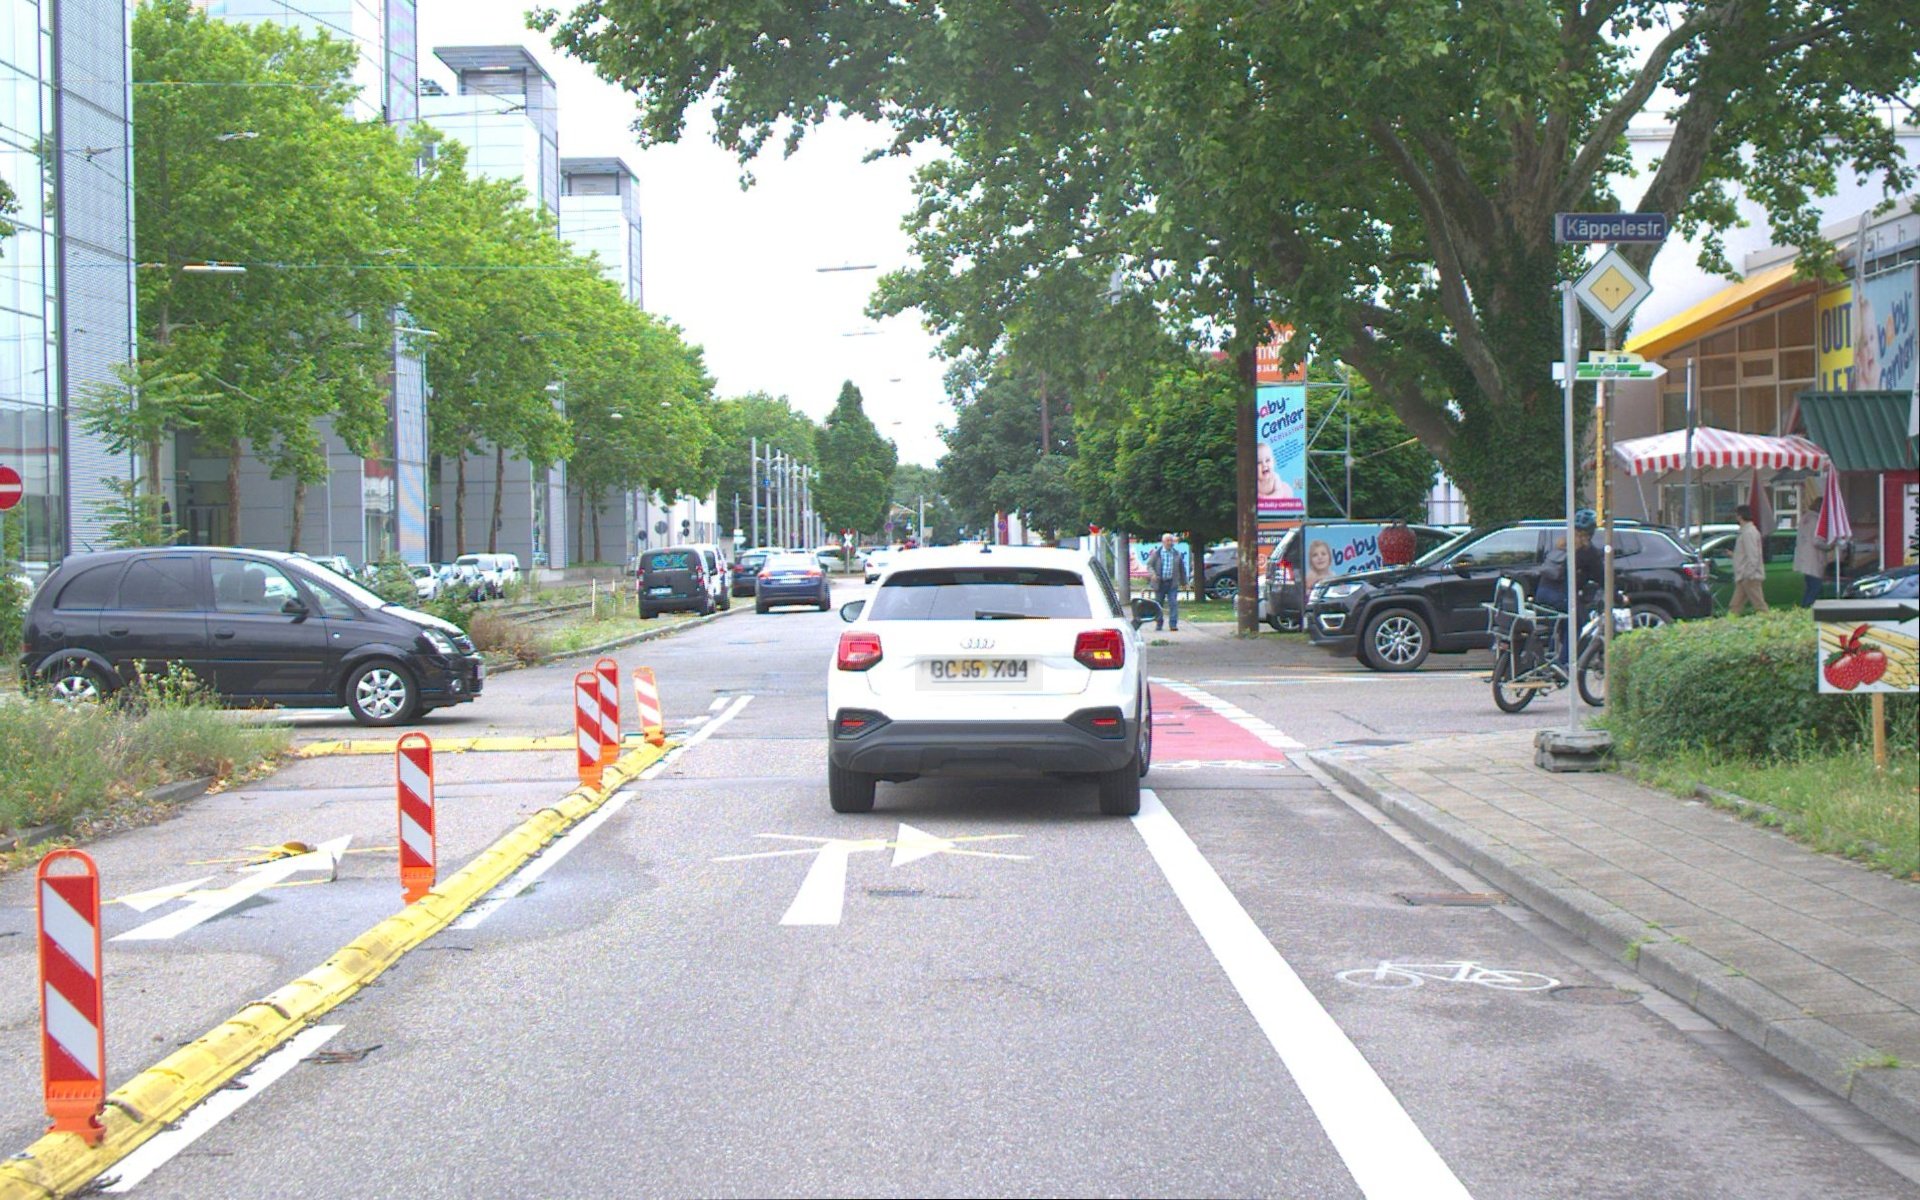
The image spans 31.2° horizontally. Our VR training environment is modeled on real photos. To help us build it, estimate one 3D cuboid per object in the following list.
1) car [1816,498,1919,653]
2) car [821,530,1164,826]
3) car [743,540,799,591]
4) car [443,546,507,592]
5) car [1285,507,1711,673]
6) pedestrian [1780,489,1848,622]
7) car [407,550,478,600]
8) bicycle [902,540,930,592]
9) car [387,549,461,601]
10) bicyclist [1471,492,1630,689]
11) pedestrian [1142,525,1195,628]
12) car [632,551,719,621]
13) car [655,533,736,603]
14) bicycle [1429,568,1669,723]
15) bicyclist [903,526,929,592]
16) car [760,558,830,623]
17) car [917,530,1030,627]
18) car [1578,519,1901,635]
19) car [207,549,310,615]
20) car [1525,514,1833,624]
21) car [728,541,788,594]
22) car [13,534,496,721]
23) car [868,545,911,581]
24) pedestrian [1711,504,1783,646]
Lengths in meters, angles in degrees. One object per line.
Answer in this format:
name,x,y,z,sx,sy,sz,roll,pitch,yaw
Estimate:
car,11.789,-0.313,38.175,4.214,1.671,1.992,-1,1,8
car,0.103,0.391,20.681,1.823,1.595,3.776,0,1,-3
car,-6.829,-1.267,124.605,1.877,1.757,4.000,-2,1,-1
car,-18.222,-1.171,129.271,1.877,1.627,4.206,-2,1,-1
car,5.810,-0.124,37.524,4.314,1.671,1.993,-1,1,1
pedestrian,11.045,-0.576,44.458,0.679,1.699,0.598,-2,1,-2
car,-17.949,-0.888,119.354,1.877,1.627,4.206,-2,1,-1
bicycle,-1.222,-0.944,95.016,0.670,1.389,2.167,0,1,-3
car,-17.816,-0.837,114.397,1.877,1.627,4.206,-2,1,-1
bicyclist,5.021,-0.091,29.198,0.818,1.624,1.232,-1,1,38
pedestrian,3.511,-0.396,57.830,0.760,1.699,0.681,-2,1,-5
car,-7.031,-0.371,85.180,1.877,1.627,4.000,-2,1,-1
car,-6.988,-0.873,90.990,1.877,1.757,4.000,-2,1,-1
bicycle,5.034,0.365,29.207,0.818,1.208,2.677,-1,1,38
bicyclist,-1.223,-1.147,95.120,0.670,1.809,0.760,0,1,-3
car,-4.073,-0.254,84.950,1.684,1.508,3.706,0,1,-3
car,0.208,-0.408,61.443,1.877,1.627,4.000,-2,1,-1
car,11.250,-0.344,49.767,4.212,1.546,1.790,-1,1,-2
car,-18.322,-0.487,89.993,1.877,1.627,4.206,-2,1,-1
car,10.818,-0.473,51.913,4.212,1.546,1.790,-1,1,-2
car,-7.000,-1.154,119.393,1.877,1.757,4.000,-2,1,-1
car,-6.181,0.230,30.431,3.883,1.550,1.825,1,0,0
car,-3.100,-1.634,150.567,1.795,1.508,3.706,0,1,-3
pedestrian,9.541,-0.304,41.705,0.679,1.699,0.598,-2,1,-2
